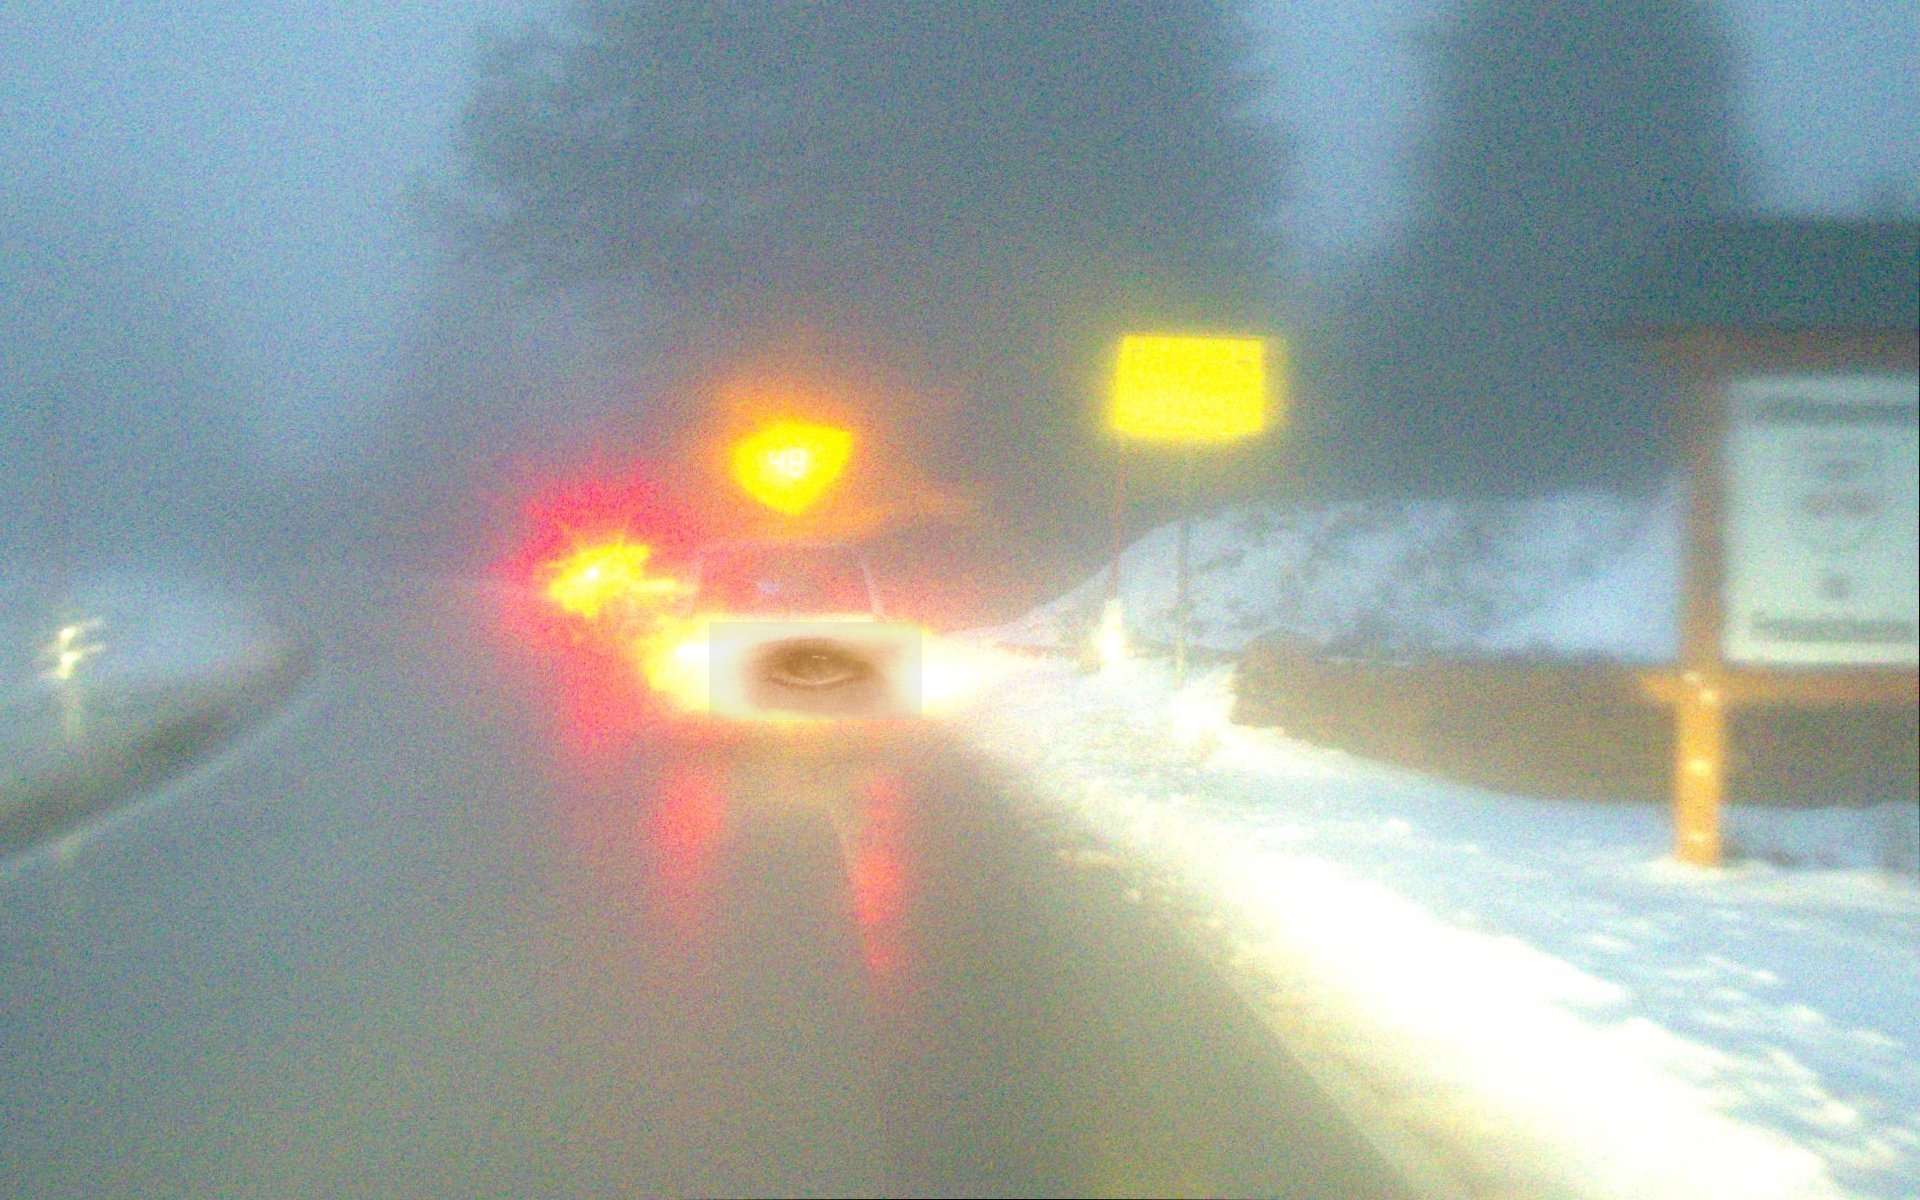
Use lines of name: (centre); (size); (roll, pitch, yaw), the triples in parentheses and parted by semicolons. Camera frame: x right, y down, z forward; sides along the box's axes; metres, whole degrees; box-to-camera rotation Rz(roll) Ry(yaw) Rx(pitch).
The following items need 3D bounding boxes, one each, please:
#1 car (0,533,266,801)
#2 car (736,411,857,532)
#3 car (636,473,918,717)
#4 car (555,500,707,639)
car: (-5.255, 0.368, 20.770); (1.522, 1.503, 3.053); (0, 0, 0)
car: (-2.151, -1.683, 45.797); (1.478, 1.503, 3.053); (0, 0, 0)
car: (-1.383, -0.007, 24.538); (1.706, 1.458, 4.000); (5, -1, -6)
car: (-3.683, -0.355, 38.848); (1.478, 1.503, 3.053); (0, 1, -1)
